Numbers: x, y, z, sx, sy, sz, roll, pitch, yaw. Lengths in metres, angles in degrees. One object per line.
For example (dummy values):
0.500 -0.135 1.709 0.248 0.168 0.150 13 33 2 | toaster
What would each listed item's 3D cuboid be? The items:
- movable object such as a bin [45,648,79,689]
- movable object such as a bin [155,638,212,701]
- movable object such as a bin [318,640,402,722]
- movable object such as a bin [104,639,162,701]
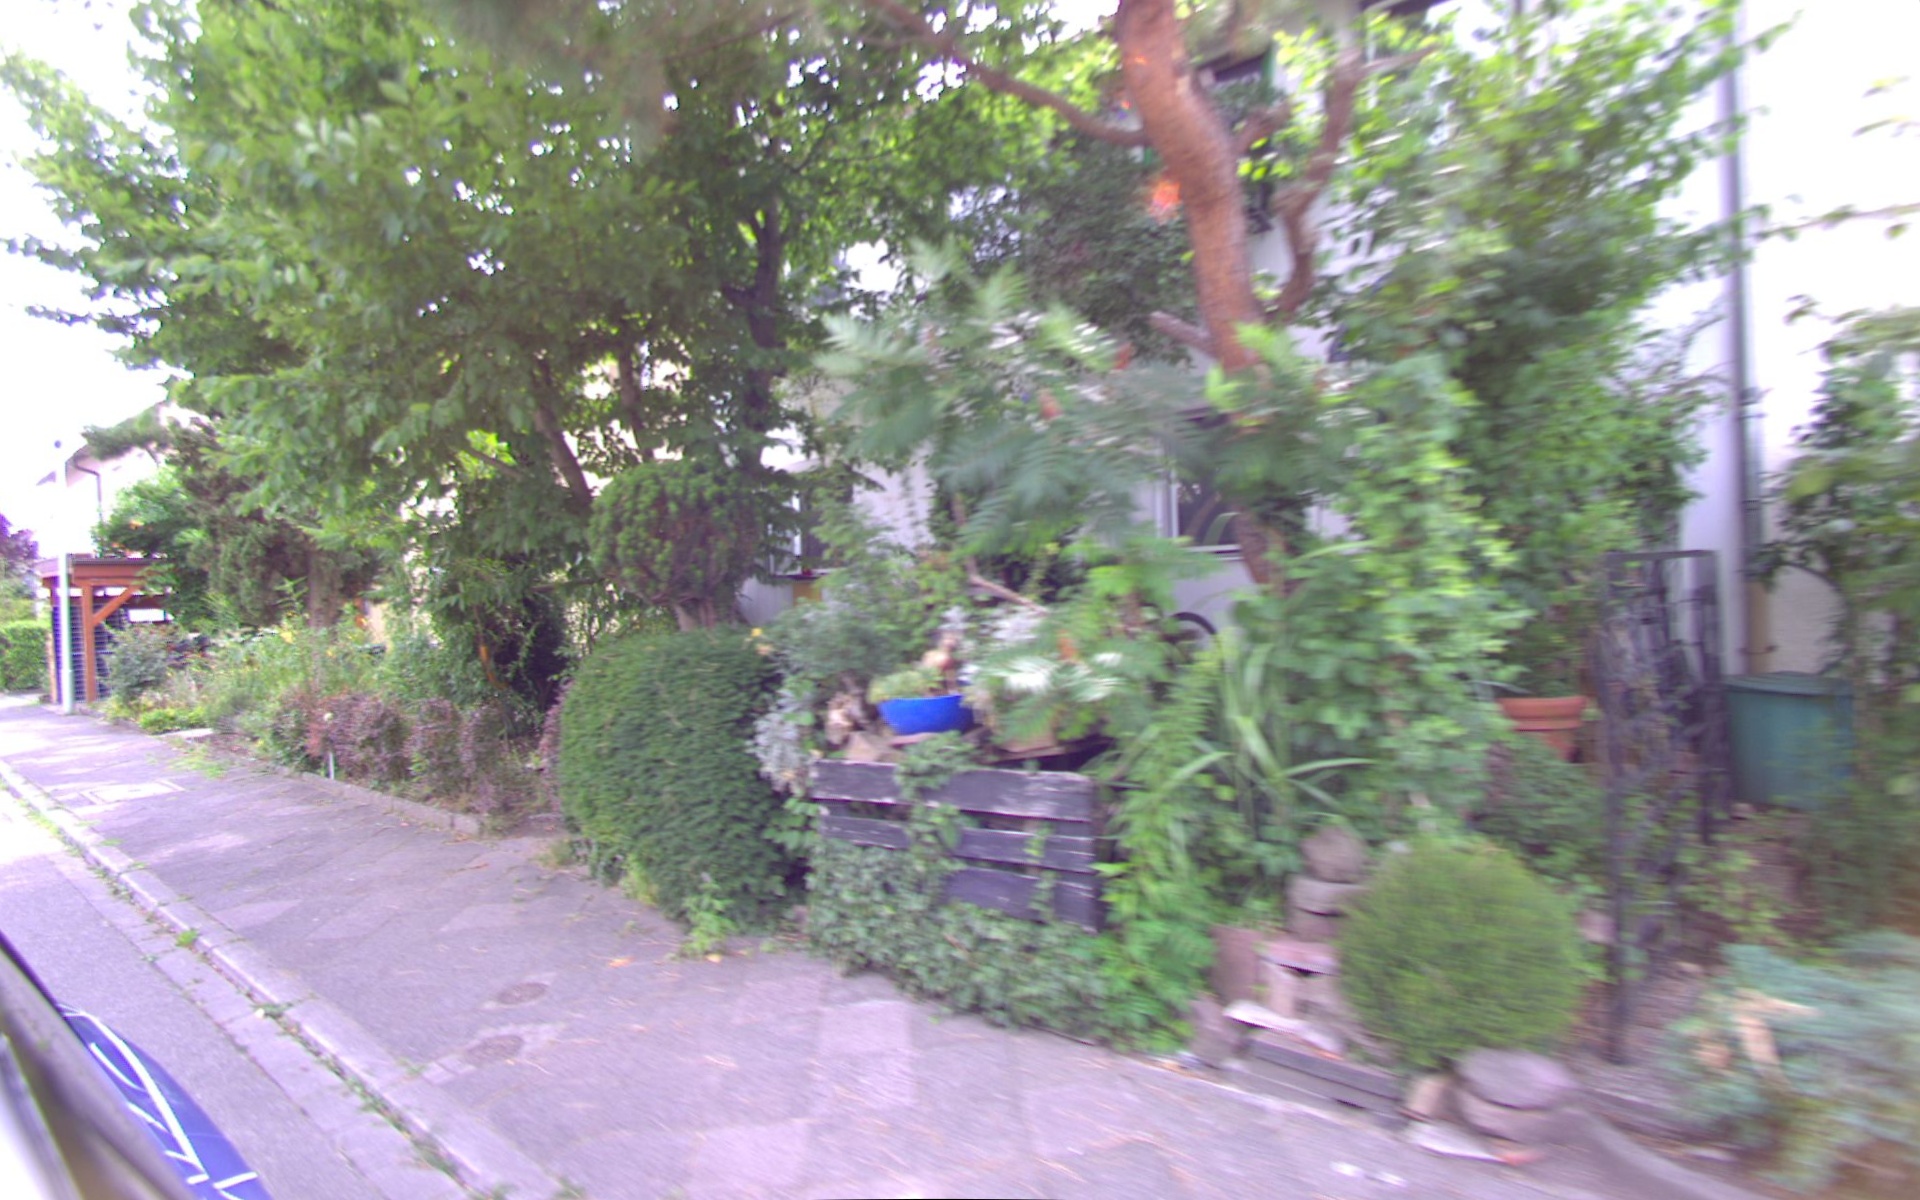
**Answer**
-20.306 1.538 22.896 0.530 0.888 0.490 -2 0 41 | movable object such as a bin
-14.759 1.308 19.232 0.877 1.138 0.696 -2 -1 41 | movable object such as a bin
-7.703 1.020 12.998 0.750 0.964 0.704 -2 0 41 | movable object such as a bin
-15.255 1.271 18.672 0.822 1.079 0.696 -2 -1 41 | movable object such as a bin
